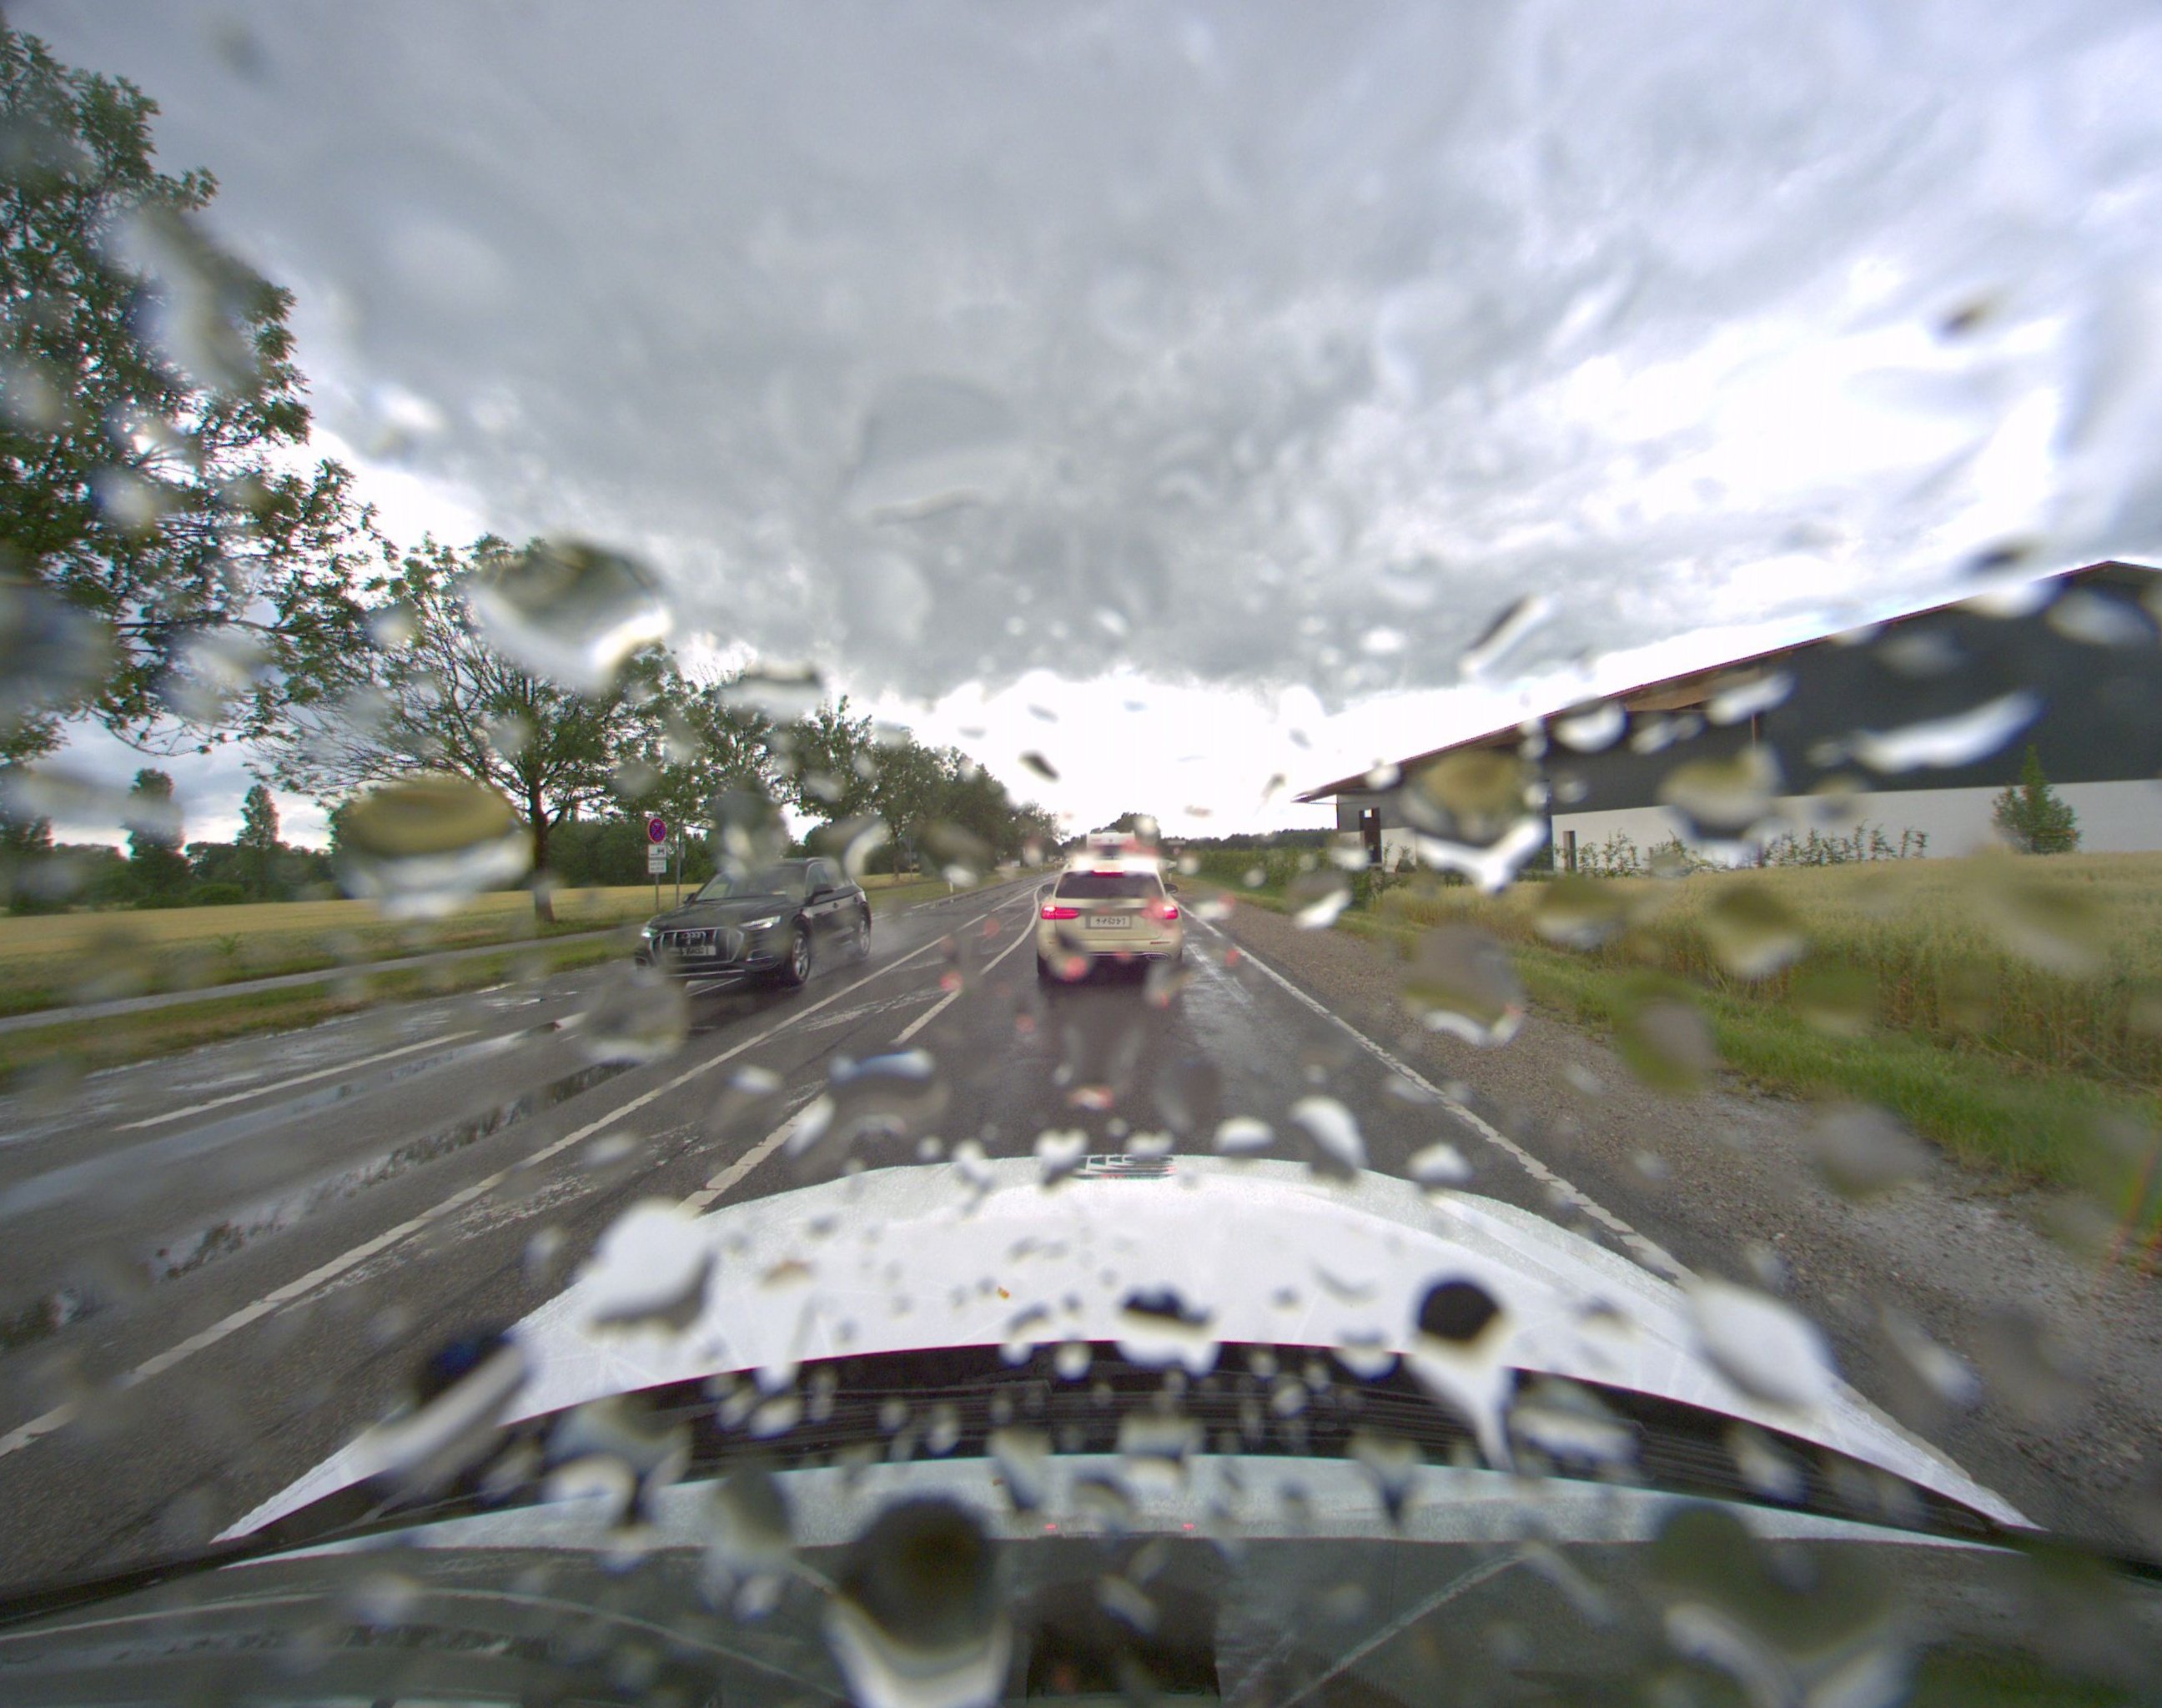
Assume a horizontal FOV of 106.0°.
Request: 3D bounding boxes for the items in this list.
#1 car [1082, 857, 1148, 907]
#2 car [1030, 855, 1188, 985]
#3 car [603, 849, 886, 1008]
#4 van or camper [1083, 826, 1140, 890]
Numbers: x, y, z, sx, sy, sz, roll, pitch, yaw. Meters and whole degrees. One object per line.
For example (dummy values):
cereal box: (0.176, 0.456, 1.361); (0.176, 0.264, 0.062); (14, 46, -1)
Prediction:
car: (1.038, 0.831, 25.962); (1.888, 1.429, 3.928); (-1, 0, 1)
car: (0.403, 0.765, 11.377); (1.790, 1.464, 4.033); (-1, 0, 2)
car: (-4.345, 0.865, 11.436); (1.909, 1.632, 4.359); (-5, -1, 2)
van or camper: (1.550, 0.204, 40.467); (2.487, 2.831, 5.938); (-3, 0, 3)
